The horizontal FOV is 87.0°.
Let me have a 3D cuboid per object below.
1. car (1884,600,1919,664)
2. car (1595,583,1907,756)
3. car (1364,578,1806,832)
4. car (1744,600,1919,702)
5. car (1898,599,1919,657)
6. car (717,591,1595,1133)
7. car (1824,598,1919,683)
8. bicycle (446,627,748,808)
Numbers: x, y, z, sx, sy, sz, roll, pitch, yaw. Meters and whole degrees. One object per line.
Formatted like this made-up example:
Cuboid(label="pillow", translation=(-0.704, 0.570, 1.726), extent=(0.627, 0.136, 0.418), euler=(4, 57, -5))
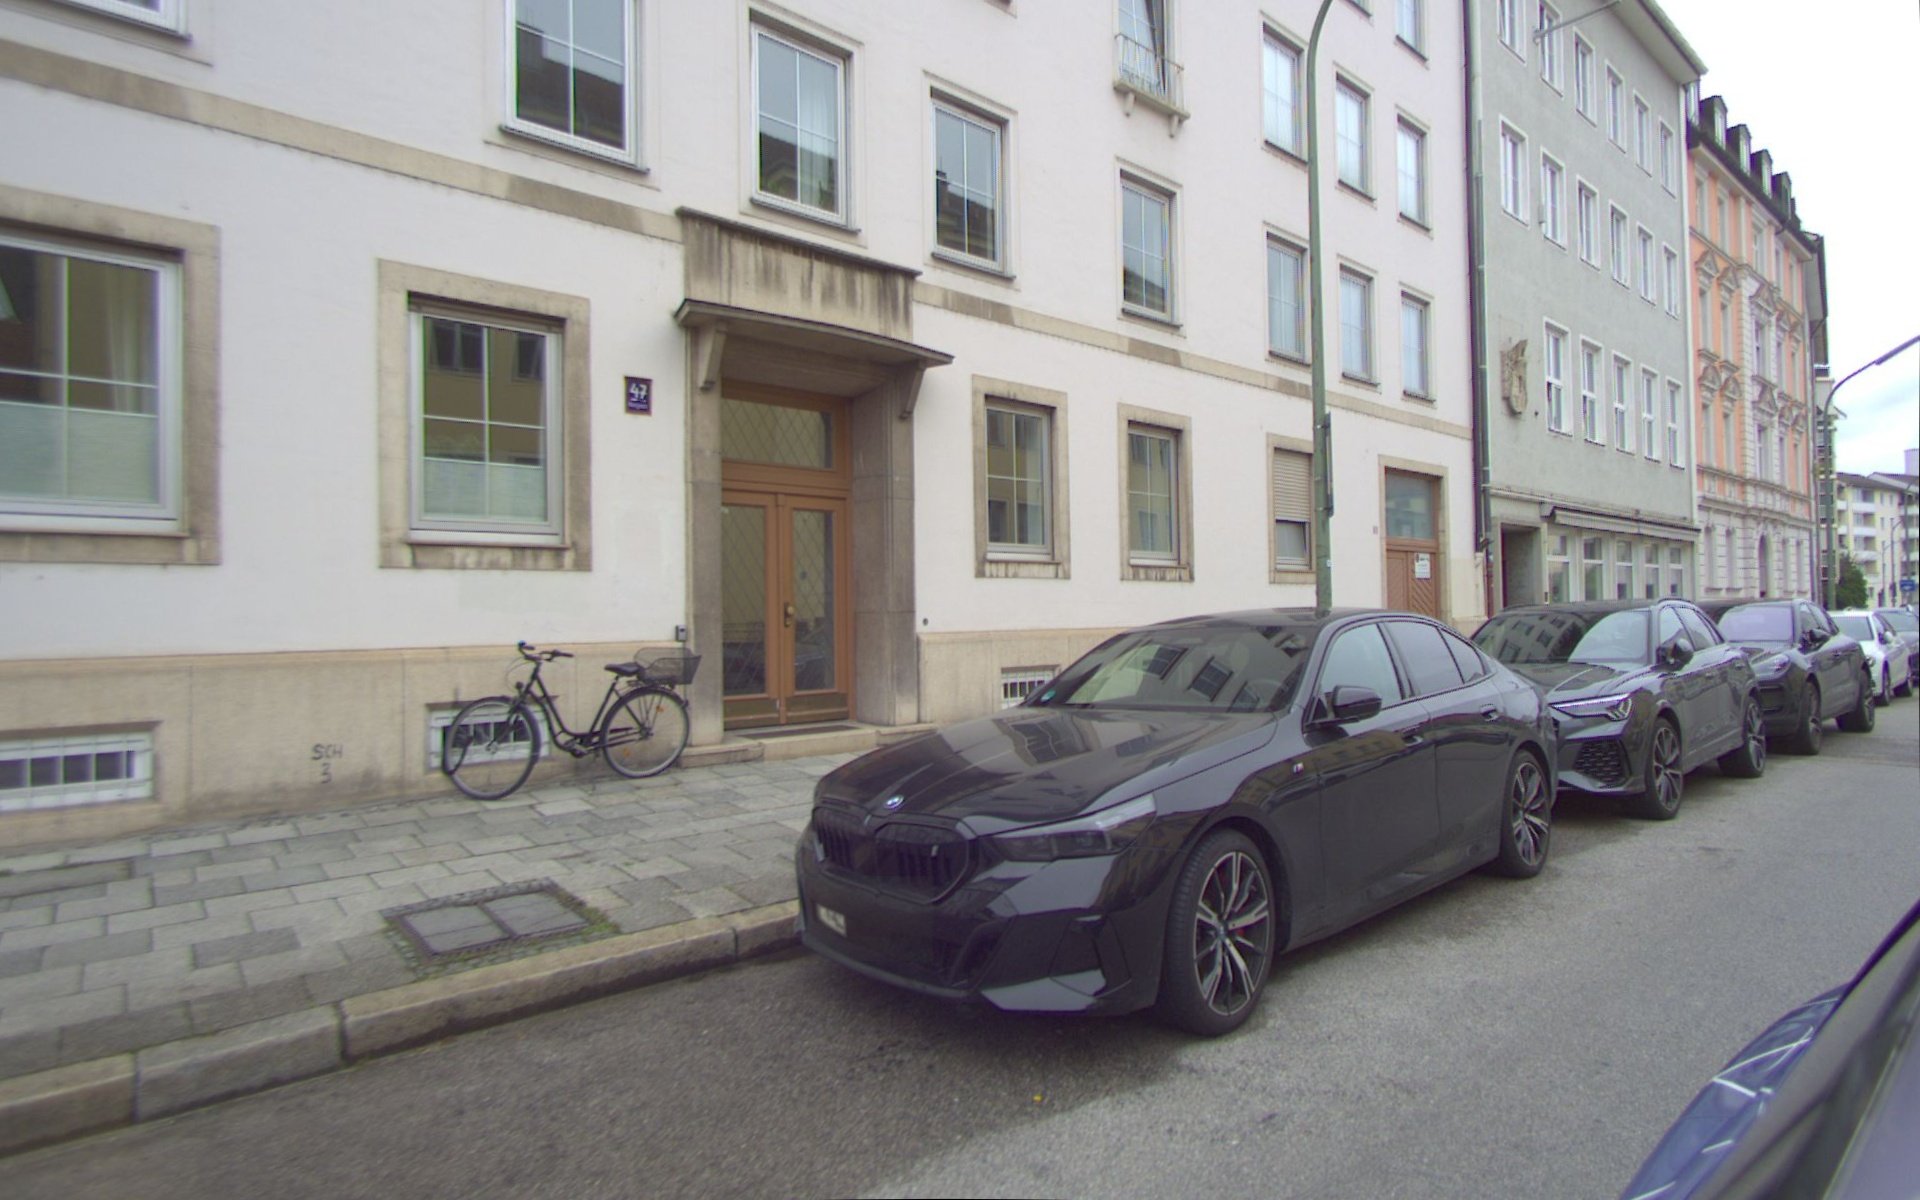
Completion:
Cuboid(label="car", translation=(23.938, 0.714, 24.475), extent=(4.117, 1.485, 1.723), euler=(0, -3, -40))
Cuboid(label="car", translation=(9.100, 0.674, 11.514), extent=(4.410, 1.602, 1.830), euler=(0, -2, -40))
Cuboid(label="car", translation=(5.417, 0.693, 8.532), extent=(4.411, 1.602, 1.830), euler=(0, -2, -40))
Cuboid(label="car", translation=(14.369, 0.768, 16.443), extent=(4.108, 1.449, 1.743), euler=(0, -3, -41))
Cuboid(label="car", translation=(28.502, 0.735, 28.815), extent=(4.411, 1.593, 1.999), euler=(0, -3, -40))
Cuboid(label="car", translation=(1.335, 0.746, 5.029), extent=(4.620, 1.466, 1.875), euler=(0, -3, -42))
Cuboid(label="car", translation=(19.022, 0.774, 20.396), extent=(3.930, 1.560, 1.766), euler=(0, -4, -41))
Cuboid(label="bicycle", translation=(-2.598, 0.784, 7.421), extent=(2.005, 1.093, 0.598), euler=(0, 2, -42))
